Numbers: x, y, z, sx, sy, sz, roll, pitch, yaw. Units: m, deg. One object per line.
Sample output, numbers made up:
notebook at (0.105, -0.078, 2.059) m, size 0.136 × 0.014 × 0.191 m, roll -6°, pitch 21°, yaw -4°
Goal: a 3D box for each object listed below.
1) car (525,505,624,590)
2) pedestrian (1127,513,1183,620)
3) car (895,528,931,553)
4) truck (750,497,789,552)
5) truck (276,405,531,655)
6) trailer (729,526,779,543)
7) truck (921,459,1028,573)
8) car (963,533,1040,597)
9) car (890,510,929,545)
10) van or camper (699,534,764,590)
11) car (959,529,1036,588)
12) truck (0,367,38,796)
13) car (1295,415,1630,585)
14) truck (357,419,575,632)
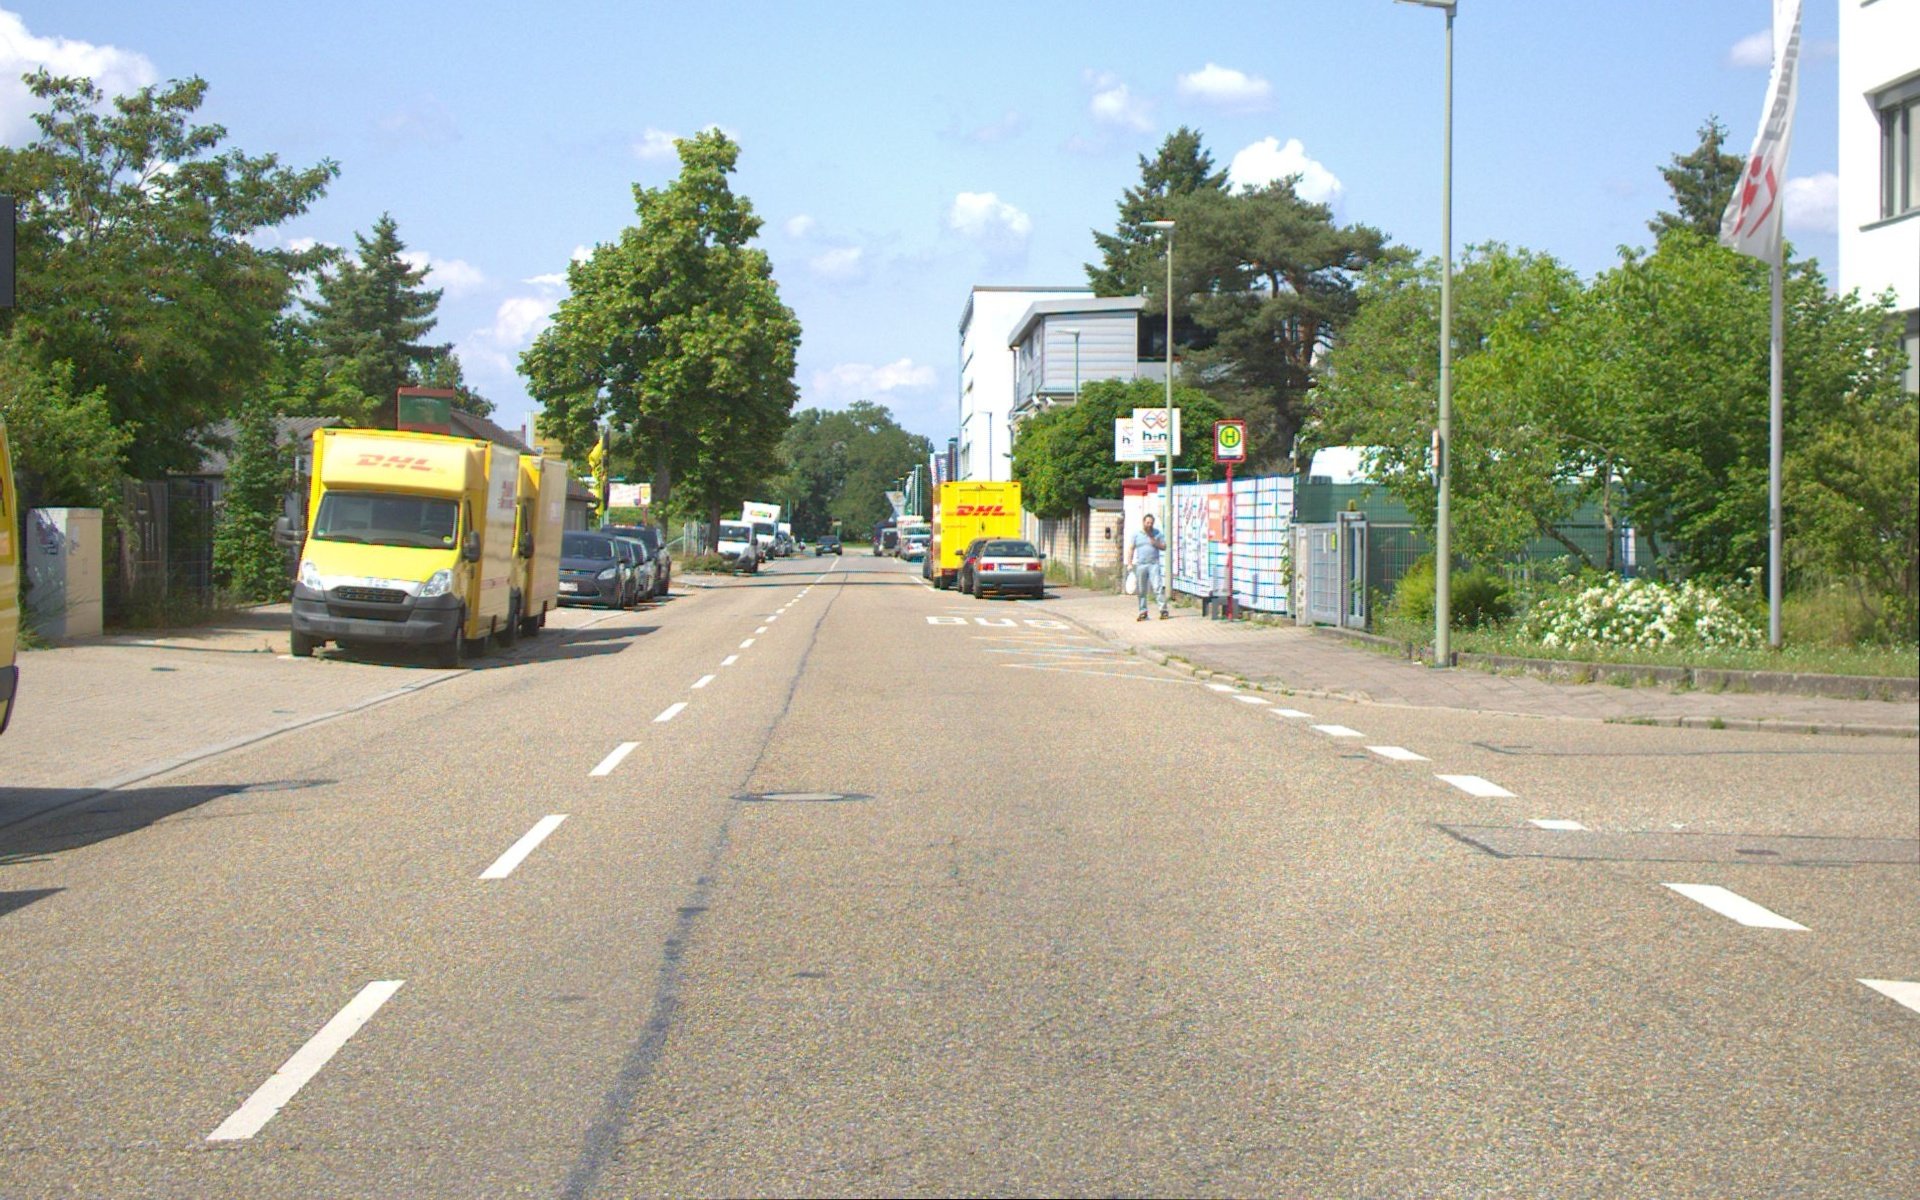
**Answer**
car at (-7.935, -1.102, 71.045) m, size 1.724 × 1.598 × 4.415 m, roll 3°, pitch 1°, yaw -3°
pedestrian at (3.218, -0.557, 56.780) m, size 0.715 × 1.691 × 0.522 m, roll -5°, pitch 1°, yaw -6°
car at (-2.555, -3.248, 186.380) m, size 1.928 × 1.306 × 4.001 m, roll 0°, pitch 1°, yaw -2°
truck at (-10.964, -4.364, 198.122) m, size 2.029 × 3.143 × 6.500 m, roll 0°, pitch 1°, yaw -1°
truck at (-6.929, -0.863, 43.611) m, size 2.269 × 2.845 × 7.175 m, roll 2°, pitch 1°, yaw -2°
trailer at (-10.978, -3.499, 183.907) m, size 2.417 × 0.811 × 5.538 m, roll 2°, pitch 1°, yaw -1°
truck at (0.335, -2.276, 93.818) m, size 2.474 × 2.930 × 7.190 m, roll 2°, pitch 1°, yaw -3°
car at (0.978, -0.855, 82.208) m, size 1.651 × 1.382 × 4.423 m, roll 1°, pitch 2°, yaw -1°
car at (-2.940, -4.208, 199.651) m, size 2.216 × 2.007 × 5.486 m, roll 0°, pitch 1°, yaw -1°
van or camper at (-10.119, -1.720, 153.009) m, size 2.173 × 2.405 × 7.697 m, roll 0°, pitch 1°, yaw 2°
car at (0.919, -1.062, 86.999) m, size 1.662 × 1.436 × 4.284 m, roll 0°, pitch 1°, yaw -3°
truck at (-6.368, -0.057, 17.025) m, size 1.993 × 2.405 × 6.065 m, roll 0°, pitch 1°, yaw 0°
car at (8.013, -1.586, 55.064) m, size 4.905 × 2.643 × 2.074 m, roll 0°, pitch 1°, yaw -9°
truck at (-7.271, -1.112, 51.408) m, size 2.316 × 2.853 × 7.105 m, roll 3°, pitch 1°, yaw -2°
